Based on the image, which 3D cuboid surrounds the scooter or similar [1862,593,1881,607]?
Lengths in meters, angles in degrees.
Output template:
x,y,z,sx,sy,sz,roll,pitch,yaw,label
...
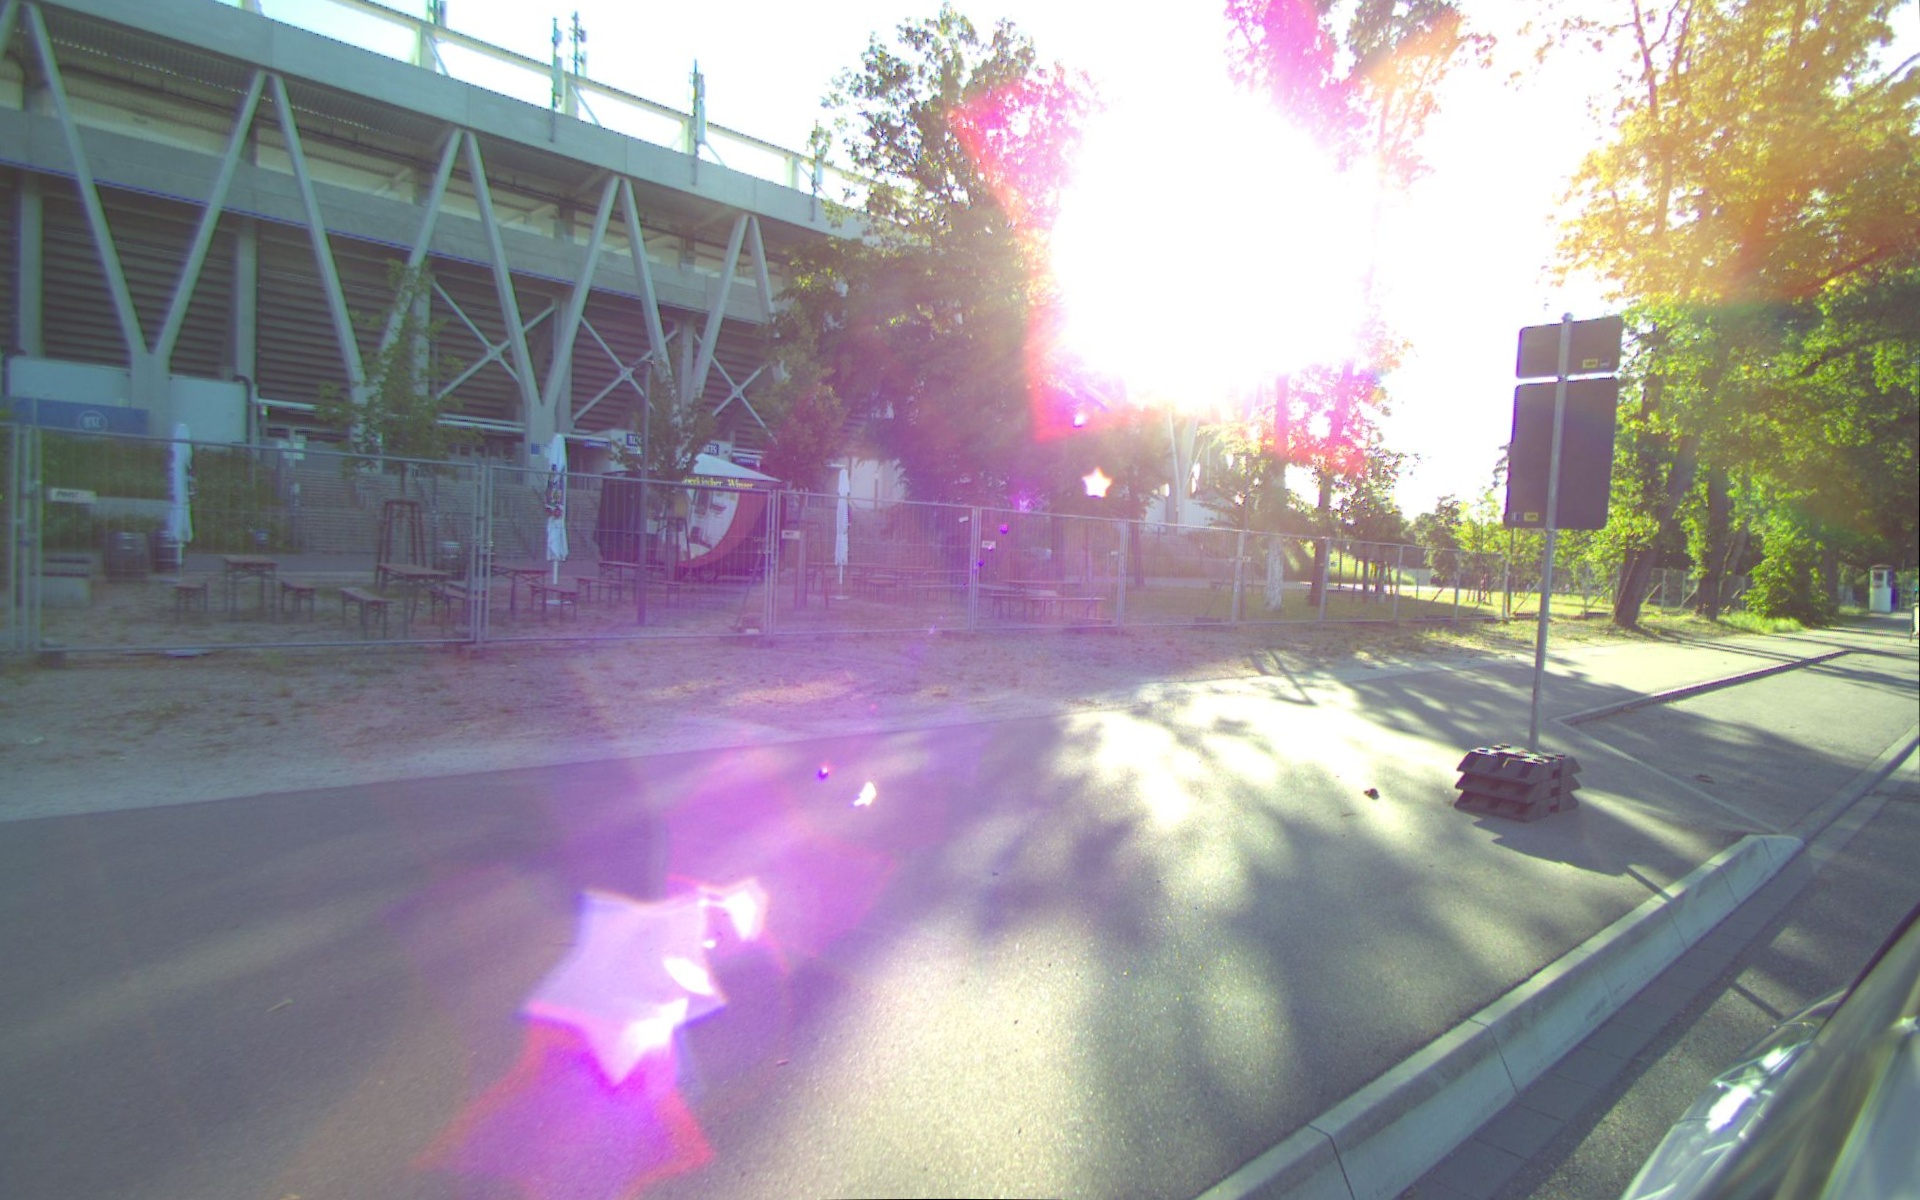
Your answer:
x,y,z,sx,sy,sz,roll,pitch,yaw,label
83.397,-0.022,92.572,1.280,1.252,0.334,2,1,11,scooter or similar
